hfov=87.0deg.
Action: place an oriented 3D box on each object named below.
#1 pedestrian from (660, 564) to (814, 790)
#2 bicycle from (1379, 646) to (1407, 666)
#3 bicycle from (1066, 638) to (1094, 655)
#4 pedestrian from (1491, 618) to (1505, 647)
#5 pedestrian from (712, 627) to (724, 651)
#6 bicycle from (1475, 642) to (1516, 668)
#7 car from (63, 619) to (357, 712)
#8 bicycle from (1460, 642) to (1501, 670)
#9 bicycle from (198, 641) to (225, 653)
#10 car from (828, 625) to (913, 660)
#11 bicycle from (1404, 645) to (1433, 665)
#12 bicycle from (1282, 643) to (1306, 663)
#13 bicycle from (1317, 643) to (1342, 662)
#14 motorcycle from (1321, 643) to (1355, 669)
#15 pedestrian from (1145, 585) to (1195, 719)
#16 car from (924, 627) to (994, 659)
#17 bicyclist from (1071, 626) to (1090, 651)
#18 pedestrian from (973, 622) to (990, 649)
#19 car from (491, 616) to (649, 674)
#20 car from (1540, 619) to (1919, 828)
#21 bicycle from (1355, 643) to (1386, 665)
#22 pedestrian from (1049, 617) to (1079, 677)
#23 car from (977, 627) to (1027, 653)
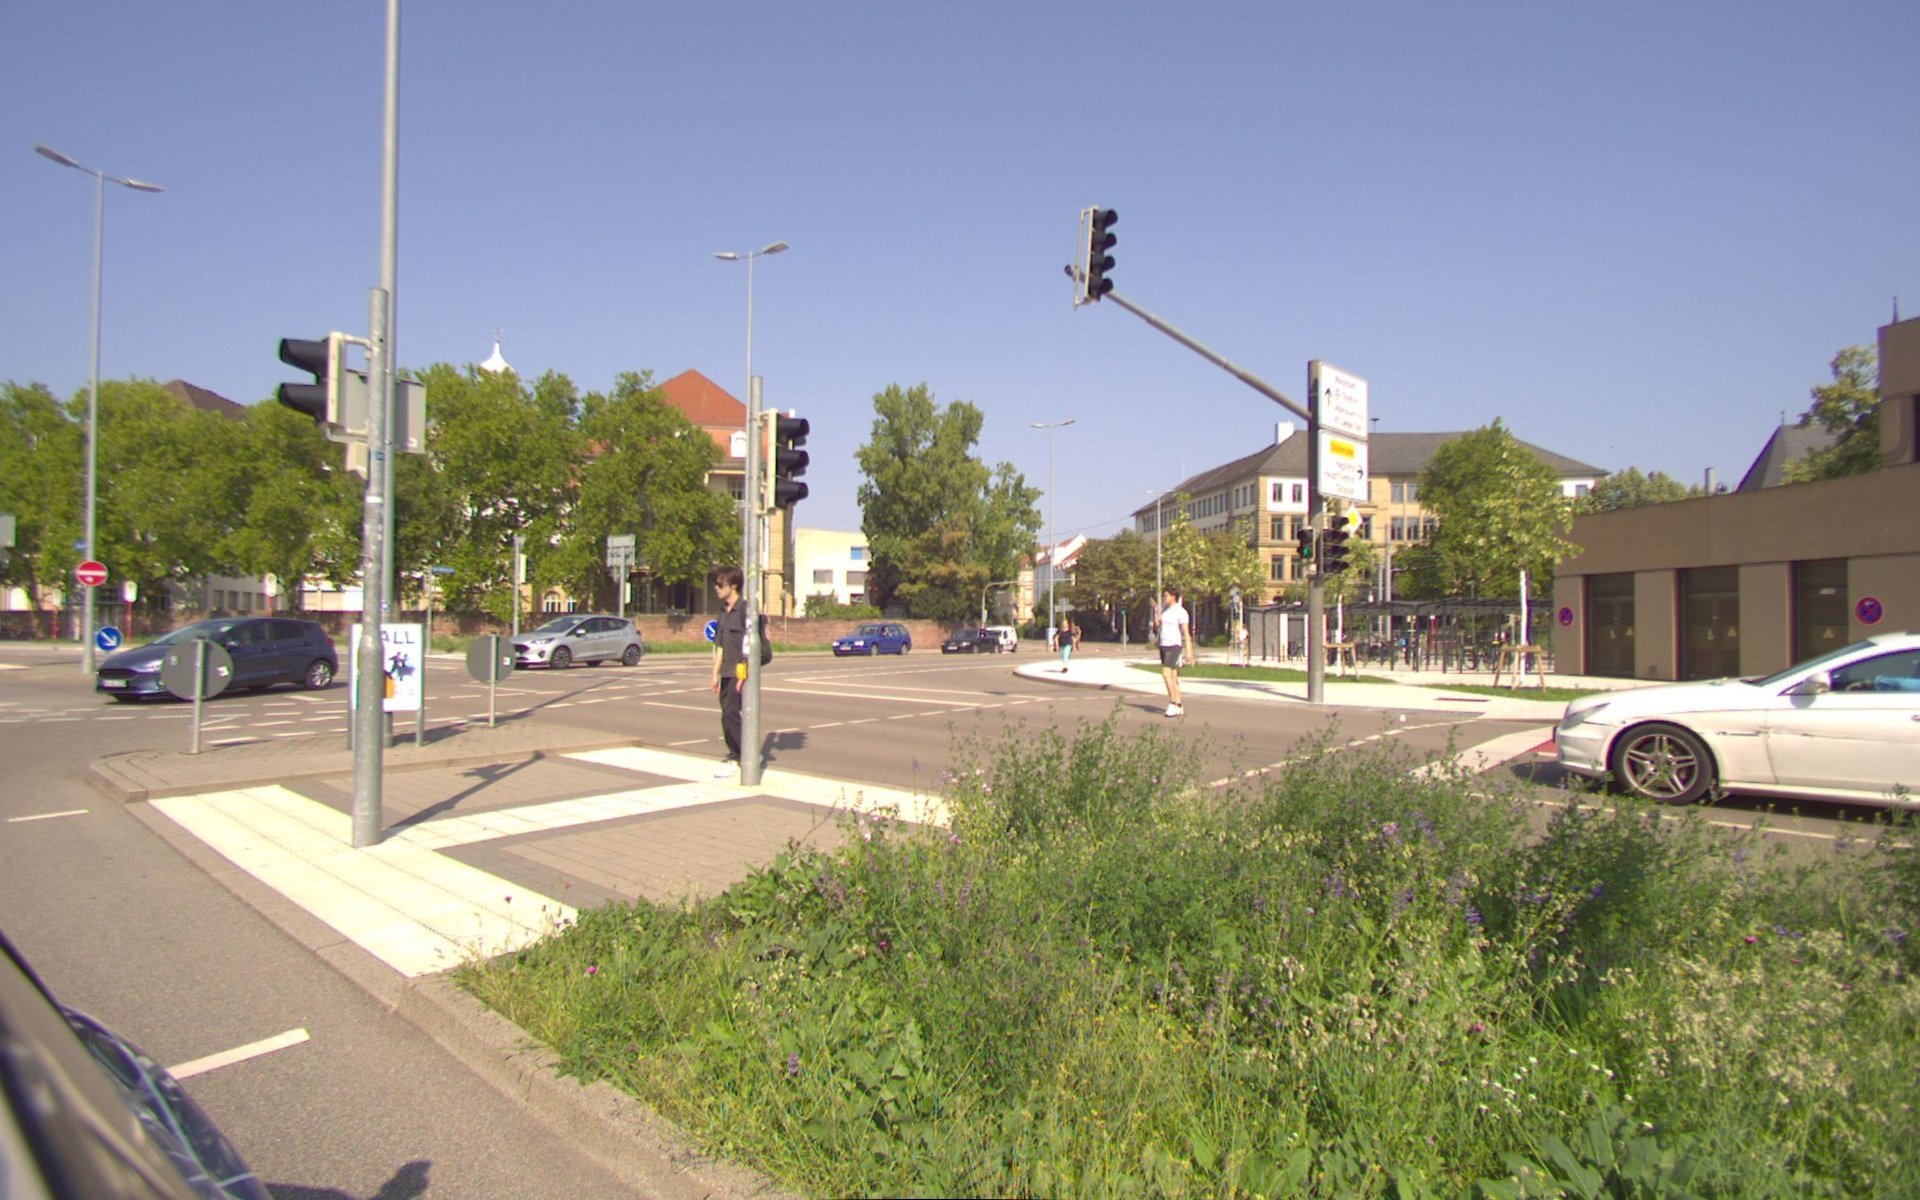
[{"bbox_3d":[-1.969,0.658,8.979,1.067,1.854,0.730,4,-3,-45],"label":"pedestrian"},{"bbox_3d":[19.933,2.557,46.643,0.403,0.899,1.591,1,-2,-8],"label":"bicycle"},{"bbox_3d":[8.745,3.375,73.708,0.883,1.214,3.047,-4,-4,29],"label":"bicycle"},{"bbox_3d":[32.324,1.964,60.821,0.713,1.762,0.386,-1,-2,24],"label":"pedestrian"},{"bbox_3d":[-16.886,2.701,70.547,0.707,1.696,0.595,0,-2,-5],"label":"pedestrian"},{"bbox_3d":[22.059,2.255,41.690,0.454,1.017,1.878,1,-2,-8],"label":"bicycle"},{"bbox_3d":[-13.607,1.113,18.723,1.626,1.438,4.300,0,0,16],"label":"car"},{"bbox_3d":[19.140,2.052,37.245,0.395,1.017,1.749,1,-2,-8],"label":"bicycle"},{"bbox_3d":[-51.763,3.238,69.989,1.530,0.842,0.433,0,-2,5],"label":"bicycle"},{"bbox_3d":[-3.601,1.717,41.479,1.598,1.339,4.296,-1,-2,25],"label":"car"},{"bbox_3d":[21.086,2.506,46.565,0.403,0.899,1.591,1,-2,-8],"label":"bicycle"},{"bbox_3d":[15.968,2.520,48.432,0.395,0.899,1.591,0,-2,-8],"label":"bicycle"},{"bbox_3d":[17.882,2.527,49.017,0.403,0.899,1.591,1,-2,-8],"label":"bicycle"},{"bbox_3d":[15.830,2.337,42.396,0.534,1.017,1.749,1,-2,-8],"label":"motorcycle"},{"bbox_3d":[2.993,0.731,14.394,0.567,1.847,0.689,-1,-2,23],"label":"pedestrian"},{"bbox_3d":[0.006,2.112,50.477,1.989,1.564,3.965,-1,-2,26],"label":"car"},{"bbox_3d":[8.769,2.819,73.809,0.883,1.759,1.355,-4,-4,29],"label":"bicyclist"},{"bbox_3d":[1.642,2.688,77.088,0.821,2.029,0.895,-5,-4,40],"label":"pedestrian"},{"bbox_3d":[-10.543,1.161,27.583,1.714,1.444,3.821,-1,-1,30],"label":"car"},{"bbox_3d":[7.200,0.857,7.437,4.820,1.372,1.821,0,0,43],"label":"car"},{"bbox_3d":[18.859,2.467,46.486,0.525,0.994,1.716,1,-2,-8],"label":"bicycle"},{"bbox_3d":[2.810,1.255,27.377,0.745,1.577,0.665,1,-2,9],"label":"pedestrian"},{"bbox_3d":[2.858,2.710,68.601,1.750,1.691,3.960,-4,-4,29],"label":"car"}]
